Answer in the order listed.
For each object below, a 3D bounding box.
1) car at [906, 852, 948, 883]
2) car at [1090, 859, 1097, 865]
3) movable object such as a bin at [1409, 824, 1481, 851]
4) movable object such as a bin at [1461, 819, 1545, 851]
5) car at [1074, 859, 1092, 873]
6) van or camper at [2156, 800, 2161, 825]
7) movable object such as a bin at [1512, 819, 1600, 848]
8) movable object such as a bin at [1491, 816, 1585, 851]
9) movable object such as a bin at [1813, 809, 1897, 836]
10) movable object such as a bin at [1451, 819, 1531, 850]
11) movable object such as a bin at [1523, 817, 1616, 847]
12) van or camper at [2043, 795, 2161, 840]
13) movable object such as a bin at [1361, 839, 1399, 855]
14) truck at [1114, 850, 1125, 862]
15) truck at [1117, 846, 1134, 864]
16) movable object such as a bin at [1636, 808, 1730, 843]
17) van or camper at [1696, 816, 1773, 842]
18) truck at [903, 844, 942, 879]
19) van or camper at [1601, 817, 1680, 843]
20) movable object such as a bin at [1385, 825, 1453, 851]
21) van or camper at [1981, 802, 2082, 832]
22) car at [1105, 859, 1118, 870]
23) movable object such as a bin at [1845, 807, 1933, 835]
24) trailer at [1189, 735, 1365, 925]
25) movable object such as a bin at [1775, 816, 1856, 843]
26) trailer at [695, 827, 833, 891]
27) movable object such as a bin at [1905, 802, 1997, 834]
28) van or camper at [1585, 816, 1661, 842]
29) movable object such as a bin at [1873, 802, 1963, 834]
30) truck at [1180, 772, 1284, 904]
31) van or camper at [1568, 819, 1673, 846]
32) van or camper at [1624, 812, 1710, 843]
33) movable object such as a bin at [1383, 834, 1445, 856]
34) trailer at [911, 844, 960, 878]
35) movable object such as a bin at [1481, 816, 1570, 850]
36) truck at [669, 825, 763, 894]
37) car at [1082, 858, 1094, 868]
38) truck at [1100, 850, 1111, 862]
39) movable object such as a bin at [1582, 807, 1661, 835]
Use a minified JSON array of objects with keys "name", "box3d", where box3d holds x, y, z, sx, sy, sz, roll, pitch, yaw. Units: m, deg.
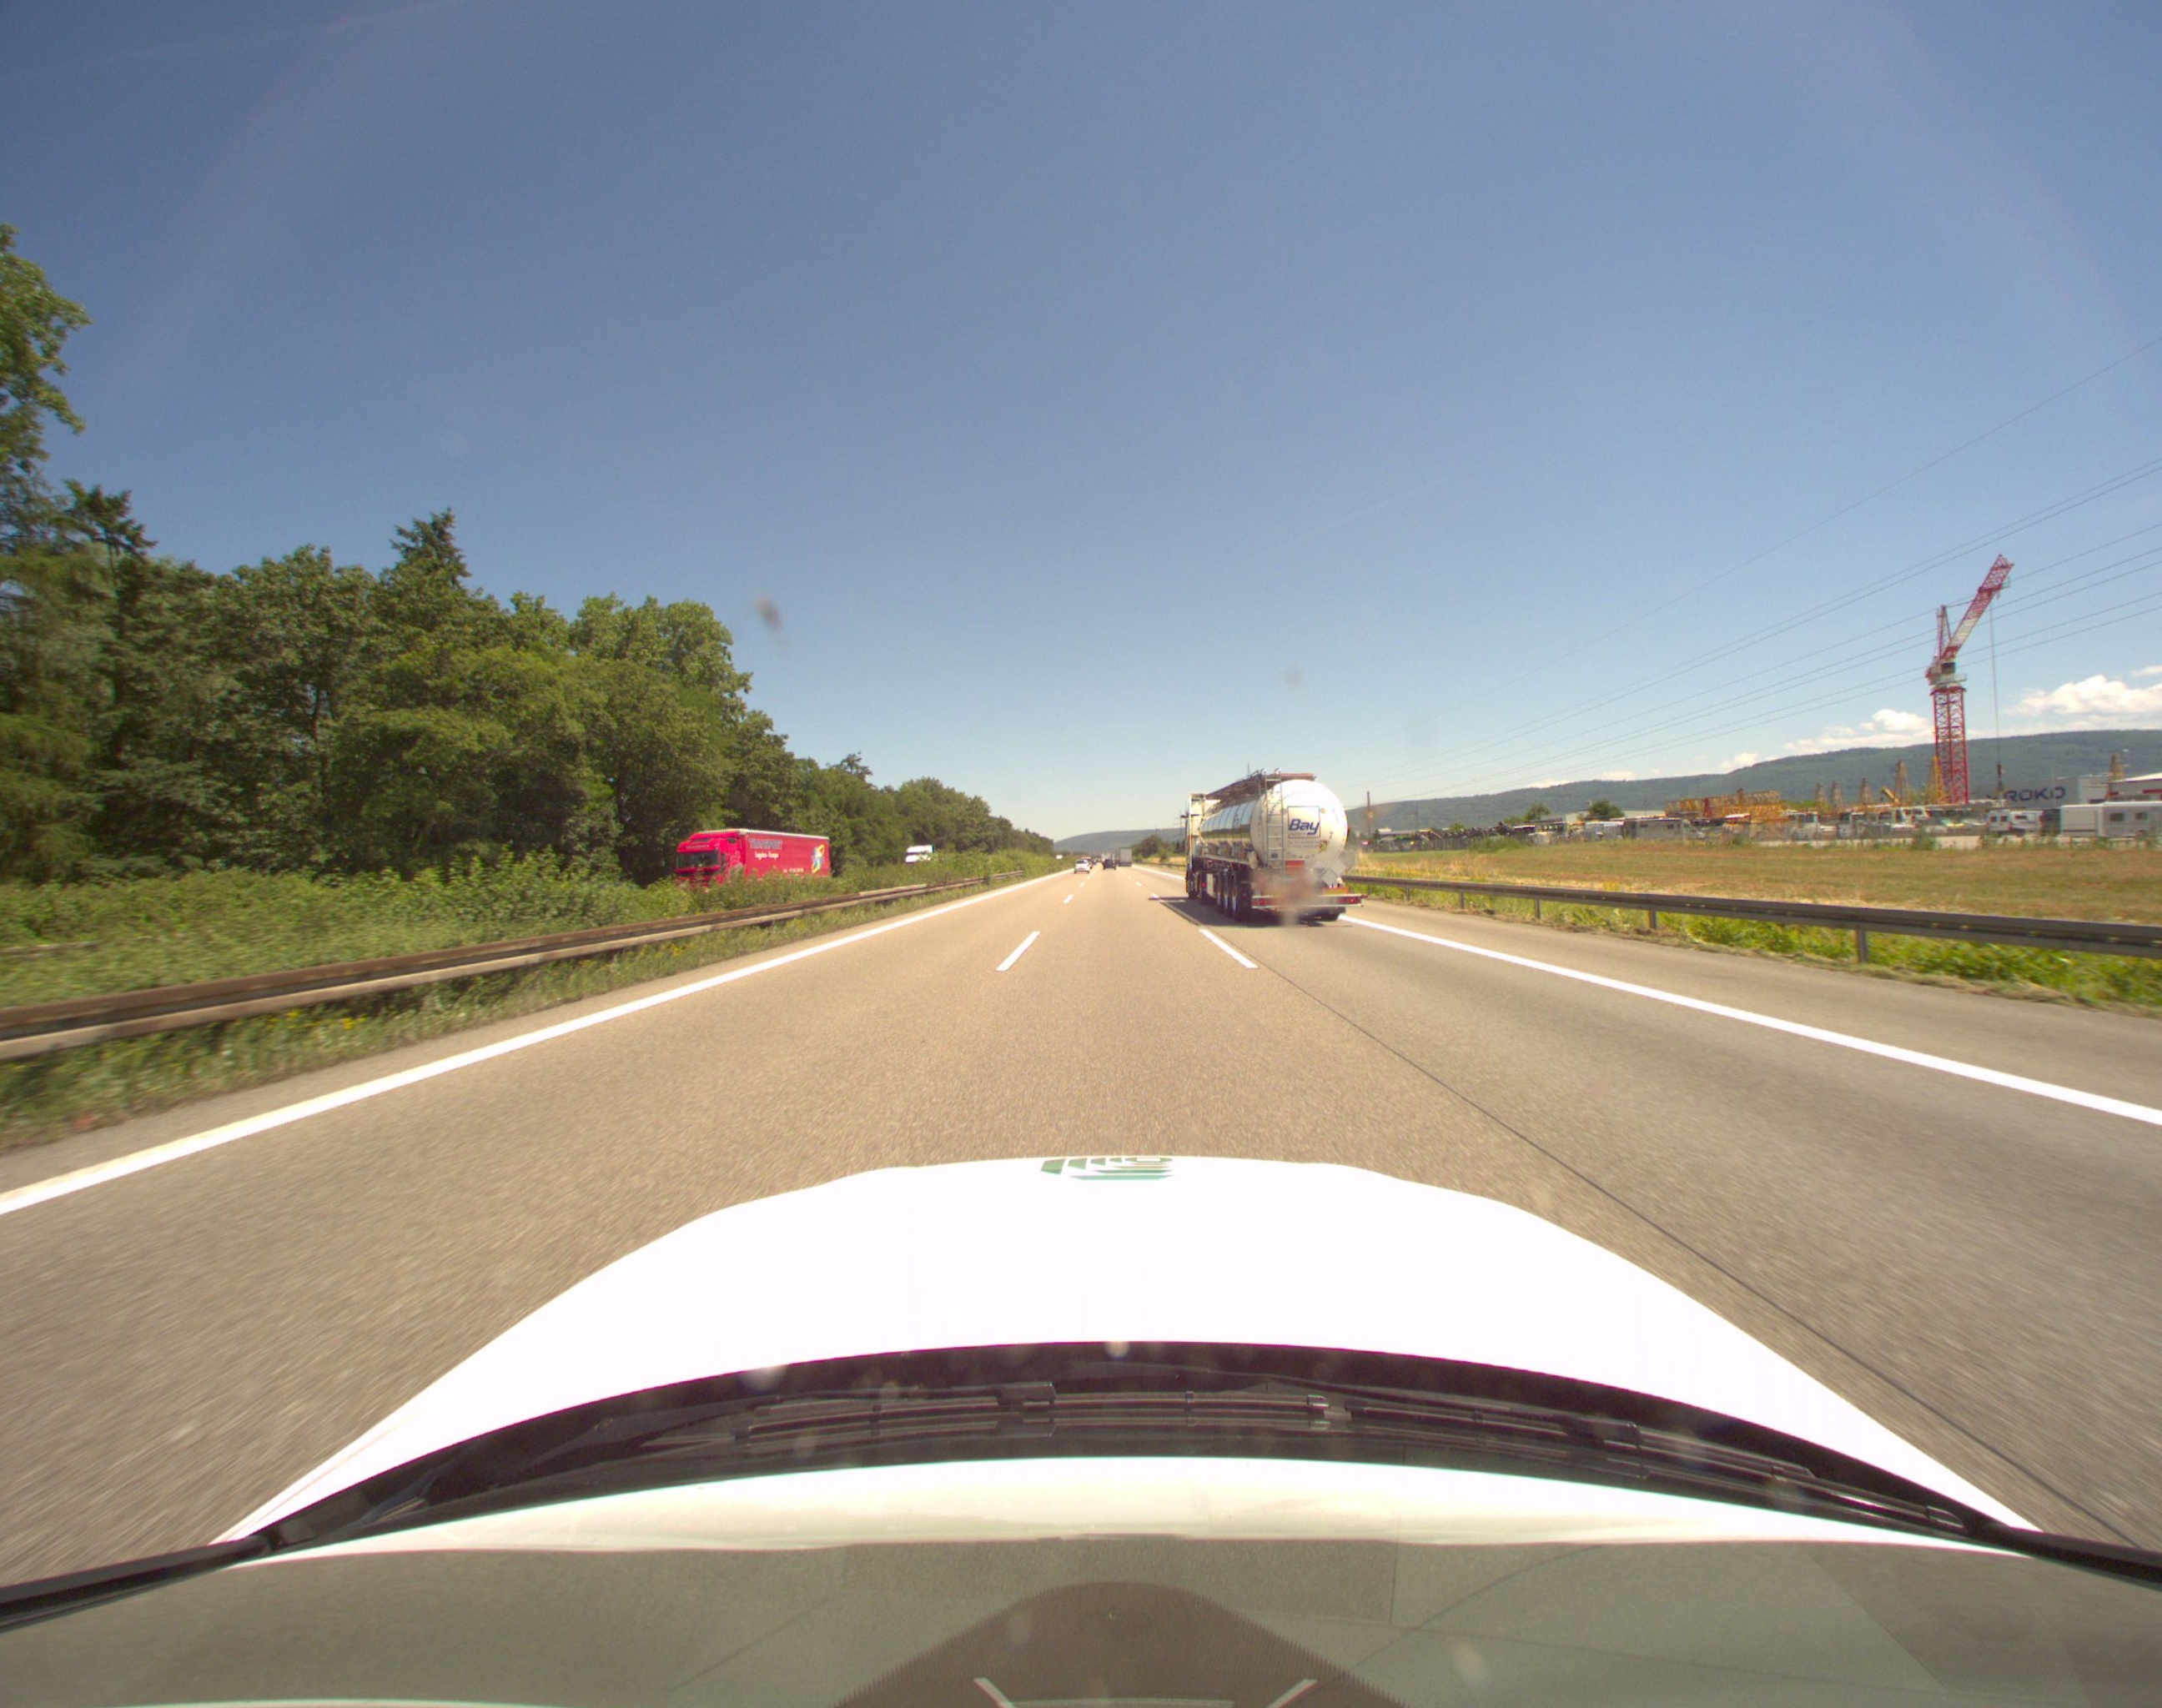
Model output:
[{"name":"car","box3d":[-13.538,1.129,72.088,2.294,2.401,6.521,0,2,1]},{"name":"car","box3d":[3.604,2.154,231.807,1.845,1.633,4.002,0,0,2]},{"name":"movable object such as a bin","box3d":[58.328,-2.639,130.541,10.217,3.689,2.394,-3,-1,1]},{"name":"movable object such as a bin","box3d":[58.041,-2.603,112.138,9.675,3.689,2.979,-3,-1,3]},{"name":"car","box3d":[0.228,1.304,90.725,1.800,1.468,4.002,0,0,2]},{"name":"van or camper","box3d":[102.652,-3.976,74.523,2.148,2.386,4.941,-3,0,3]},{"name":"movable object such as a bin","box3d":[57.789,-2.472,99.246,8.680,3.006,2.962,-3,-1,7]},{"name":"movable object such as a bin","box3d":[57.612,-2.539,102.944,9.666,3.689,3.425,-3,-1,6]},{"name":"movable object such as a bin","box3d":[85.467,-3.452,90.117,2.902,2.554,6.810,-3,-1,2]},{"name":"movable object such as a bin","box3d":[58.256,-2.713,115.834,9.675,3.689,2.635,-3,-1,3]},{"name":"movable object such as a bin","box3d":[57.387,-2.552,95.849,8.680,3.006,3.221,-3,-1,8]},{"name":"van or camper","box3d":[69.691,-2.476,54.626,6.330,2.677,3.325,-3,0,0]},{"name":"movable object such as a bin","box3d":[59.953,-1.359,163.493,6.828,2.688,3.191,-4,-1,16]},{"name":"truck","box3d":[10.930,0.549,232.078,3.086,3.474,11.545,0,0,1]},{"name":"truck","box3d":[9.407,0.195,174.097,3.253,3.857,11.634,0,0,1]},{"name":"movable object such as a bin","box3d":[73.904,-3.459,100.131,8.997,3.572,2.927,-3,-1,6]},{"name":"van or camper","box3d":[71.061,-2.710,88.601,6.091,2.402,2.604,-3,0,3]},{"name":"truck","box3d":[-17.260,0.768,89.272,2.580,3.705,6.833,0,0,3]},{"name":"van or camper","box3d":[56.411,-2.415,82.193,6.091,2.220,2.604,-3,0,3]},{"name":"movable object such as a bin","box3d":[57.004,-2.666,137.621,10.217,3.689,2.665,-3,-1,1]},{"name":"van or camper","box3d":[87.297,-3.394,74.874,5.916,2.353,2.807,-3,0,1]},{"name":"car","box3d":[4.428,1.484,118.866,1.878,1.515,4.002,0,0,2]},{"name":"movable object such as a bin","box3d":[88.684,-3.590,89.582,2.902,2.554,6.810,-3,-1,2]},{"name":"trailer","box3d":[4.940,-0.499,23.044,2.570,4.074,11.105,0,0,1]},{"name":"movable object such as a bin","box3d":[81.569,-2.699,90.575,2.902,2.554,6.810,-3,-1,2]},{"name":"trailer","box3d":[-18.936,0.281,50.162,2.577,3.417,14.160,0,0,2]},{"name":"movable object such as a bin","box3d":[95.498,-3.898,89.585,2.902,3.029,6.810,-3,-1,2]},{"name":"van or camper","box3d":[56.553,-2.611,85.012,6.091,2.402,2.604,-3,0,3]},{"name":"movable object such as a bin","box3d":[91.906,-3.899,89.624,2.902,3.029,6.810,-3,-1,2]},{"name":"truck","box3d":[5.066,-0.484,28.424,2.564,4.072,6.394,0,0,1]},{"name":"van or camper","box3d":[59.153,-2.342,89.439,9.273,2.521,3.163,-3,0,3]},{"name":"van or camper","box3d":[56.397,-2.518,78.468,6.316,2.552,2.440,-3,0,3]},{"name":"movable object such as a bin","box3d":[61.201,-1.668,149.757,10.157,3.415,2.537,-4,-1,27]},{"name":"trailer","box3d":[-16.903,0.783,95.947,2.580,3.705,13.699,0,0,3]},{"name":"movable object such as a bin","box3d":[58.023,-2.716,106.522,9.667,3.689,2.981,-3,-1,6]},{"name":"truck","box3d":[-19.116,0.266,42.987,2.589,3.422,5.118,0,0,1]},{"name":"car","box3d":[1.082,1.432,130.723,1.845,1.633,4.002,0,0,2]},{"name":"truck","box3d":[7.189,0.657,236.770,3.086,3.474,11.545,0,0,1]},{"name":"movable object such as a bin","box3d":[74.182,-4.513,111.932,8.644,3.149,2.927,-3,-1,6]}]
